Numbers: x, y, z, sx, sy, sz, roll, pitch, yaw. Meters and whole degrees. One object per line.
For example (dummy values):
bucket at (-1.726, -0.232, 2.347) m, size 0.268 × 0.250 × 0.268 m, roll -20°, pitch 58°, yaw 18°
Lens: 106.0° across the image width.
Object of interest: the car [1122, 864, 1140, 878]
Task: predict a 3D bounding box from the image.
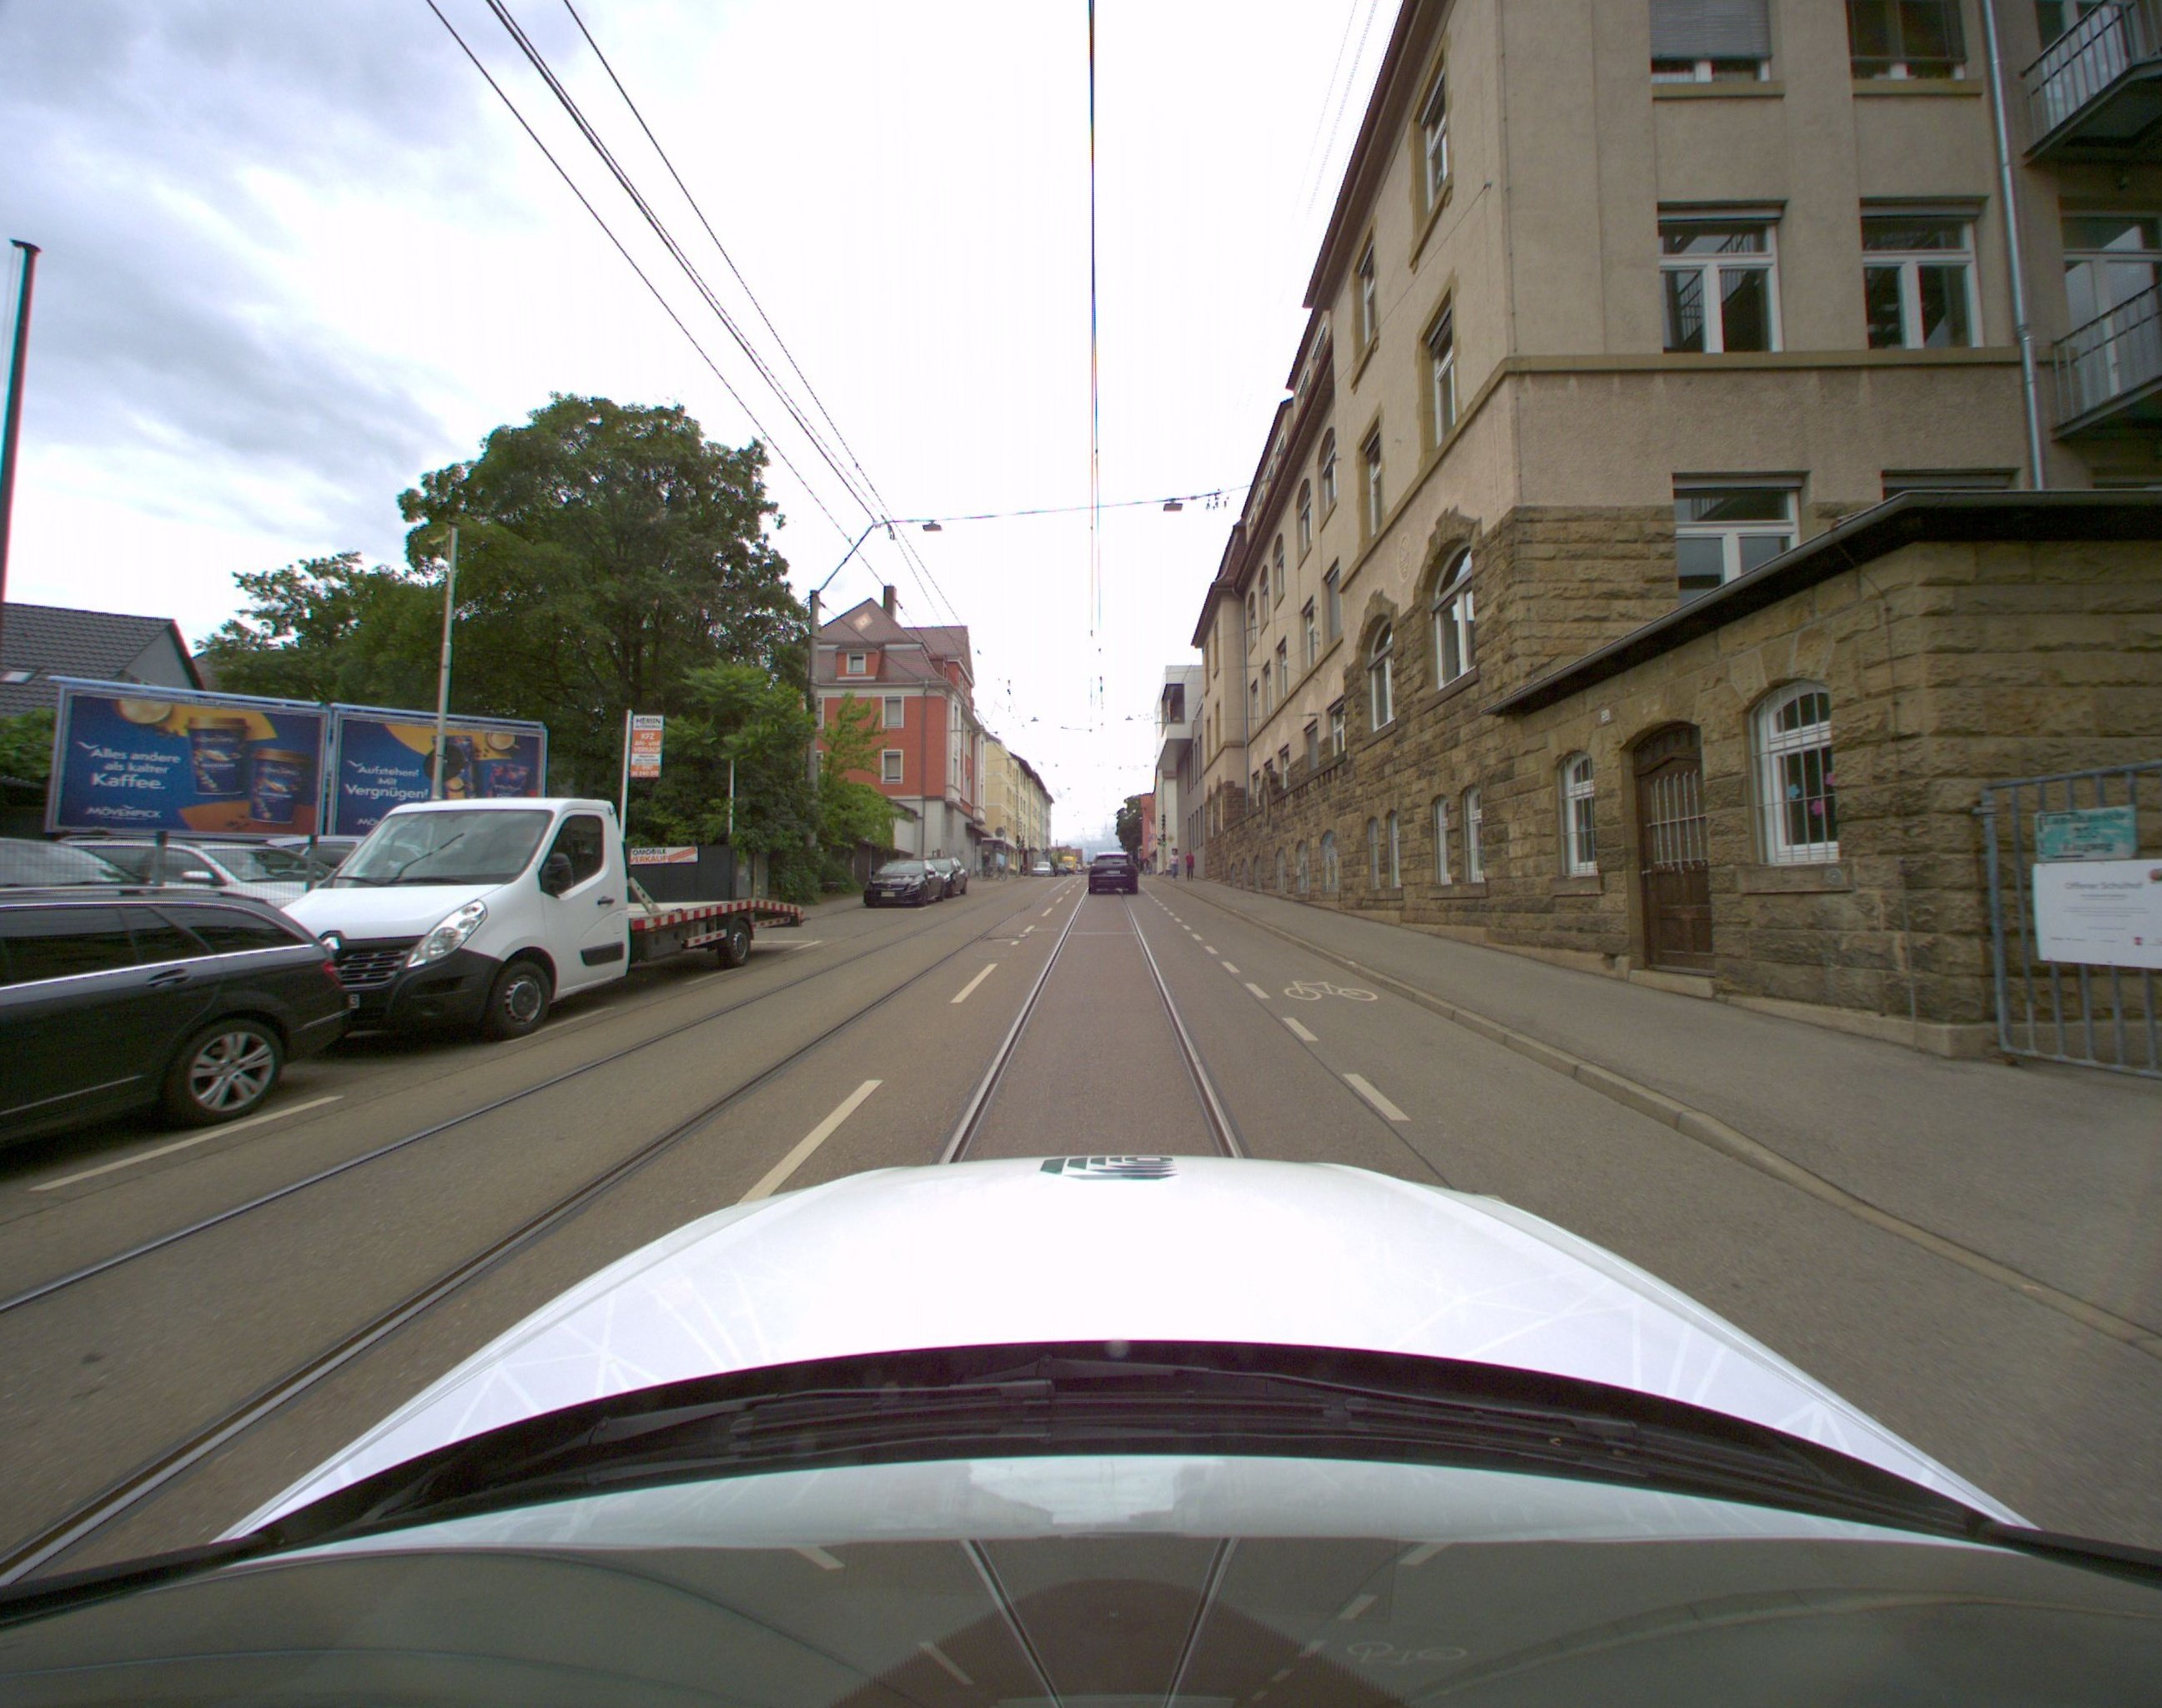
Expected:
car at (5.900, 1.959, 96.422) m, size 1.986 × 1.563 × 4.292 m, roll 0°, pitch 0°, yaw 2°

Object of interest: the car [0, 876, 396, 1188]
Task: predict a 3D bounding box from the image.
car at (-6.035, 0.913, 3.873) m, size 1.691 × 1.433 × 4.481 m, roll -2°, pitch 0°, yaw 0°

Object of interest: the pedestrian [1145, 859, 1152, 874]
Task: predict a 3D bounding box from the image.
pedestrian at (7.986, 1.479, 95.806) m, size 0.788 × 1.667 × 0.799 m, roll 0°, pitch 0°, yaw 4°

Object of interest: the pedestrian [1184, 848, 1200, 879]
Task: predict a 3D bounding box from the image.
pedestrian at (6.052, 0.531, 44.479) m, size 0.788 × 1.667 × 0.799 m, roll 0°, pitch 0°, yaw 4°

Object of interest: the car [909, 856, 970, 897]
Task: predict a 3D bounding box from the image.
car at (-5.290, 0.813, 30.854) m, size 1.509 × 1.446 × 3.711 m, roll 0°, pitch 0°, yaw 2°

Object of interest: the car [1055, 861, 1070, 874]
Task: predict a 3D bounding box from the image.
car at (-2.459, 1.829, 111.179) m, size 1.848 × 1.607 × 4.298 m, roll 0°, pitch 0°, yaw 1°

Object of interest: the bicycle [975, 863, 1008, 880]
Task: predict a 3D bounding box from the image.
bicycle at (-5.361, 1.058, 48.903) m, size 1.904 × 1.000 × 0.479 m, roll 0°, pitch 0°, yaw 2°

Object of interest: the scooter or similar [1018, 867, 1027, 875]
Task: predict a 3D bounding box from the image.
scooter or similar at (-6.696, 1.966, 93.691) m, size 1.025 × 0.919 × 0.473 m, roll 0°, pitch 0°, yaw -3°

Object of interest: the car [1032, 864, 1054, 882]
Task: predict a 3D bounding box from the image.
car at (-3.620, 1.795, 78.477) m, size 1.848 × 1.607 × 4.298 m, roll 0°, pitch 0°, yaw 1°

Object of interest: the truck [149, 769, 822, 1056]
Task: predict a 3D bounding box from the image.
truck at (-5.850, 0.459, 10.251) m, size 2.271 × 2.188 × 8.030 m, roll 0°, pitch 0°, yaw 3°

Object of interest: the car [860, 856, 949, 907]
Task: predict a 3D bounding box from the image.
car at (-5.405, 0.802, 25.454) m, size 1.705 × 1.446 × 4.292 m, roll 0°, pitch 0°, yaw 2°

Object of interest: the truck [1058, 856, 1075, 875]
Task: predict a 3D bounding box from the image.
truck at (-2.280, 1.856, 131.319) m, size 2.294 × 3.036 × 9.036 m, roll 0°, pitch -1°, yaw 1°

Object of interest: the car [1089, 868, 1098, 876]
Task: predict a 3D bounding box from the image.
car at (2.917, 4.099, 186.186) m, size 1.986 × 1.563 × 4.292 m, roll 0°, pitch 0°, yaw 2°

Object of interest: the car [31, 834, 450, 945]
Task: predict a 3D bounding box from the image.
car at (-11.059, 0.443, 10.925) m, size 3.862 × 1.357 × 1.688 m, roll 0°, pitch 0°, yaw 1°

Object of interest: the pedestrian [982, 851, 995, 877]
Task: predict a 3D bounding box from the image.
pedestrian at (-6.401, 0.685, 56.382) m, size 0.772 × 1.776 × 0.650 m, roll 0°, pitch 0°, yaw 2°

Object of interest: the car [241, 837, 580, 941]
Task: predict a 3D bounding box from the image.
car at (-10.834, 0.518, 13.484) m, size 3.964 × 1.551 × 1.680 m, roll 0°, pitch 0°, yaw -13°

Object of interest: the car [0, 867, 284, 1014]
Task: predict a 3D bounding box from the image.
car at (-11.114, 0.831, 8.524) m, size 3.862 × 1.357 × 1.688 m, roll 0°, pitch 0°, yaw 1°

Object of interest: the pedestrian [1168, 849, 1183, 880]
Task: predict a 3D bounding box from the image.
pedestrian at (5.149, 0.568, 44.507) m, size 0.788 × 1.667 × 0.799 m, roll 0°, pitch 0°, yaw 4°

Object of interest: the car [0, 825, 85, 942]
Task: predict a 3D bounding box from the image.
car at (-15.204, 0.397, 9.735) m, size 1.677 × 1.551 × 3.973 m, roll 0°, pitch 0°, yaw 0°

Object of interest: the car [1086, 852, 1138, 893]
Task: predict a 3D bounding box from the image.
car at (1.286, 0.716, 33.656) m, size 1.986 × 1.563 × 4.292 m, roll 0°, pitch 0°, yaw 2°

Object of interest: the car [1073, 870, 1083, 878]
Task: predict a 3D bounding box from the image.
car at (-0.674, 4.047, 166.118) m, size 1.848 × 1.607 × 4.298 m, roll 0°, pitch 0°, yaw 1°

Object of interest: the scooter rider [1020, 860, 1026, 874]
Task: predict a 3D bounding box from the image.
scooter rider at (-6.649, 1.512, 93.740) m, size 0.646 × 1.585 × 0.765 m, roll 0°, pitch 0°, yaw -3°
